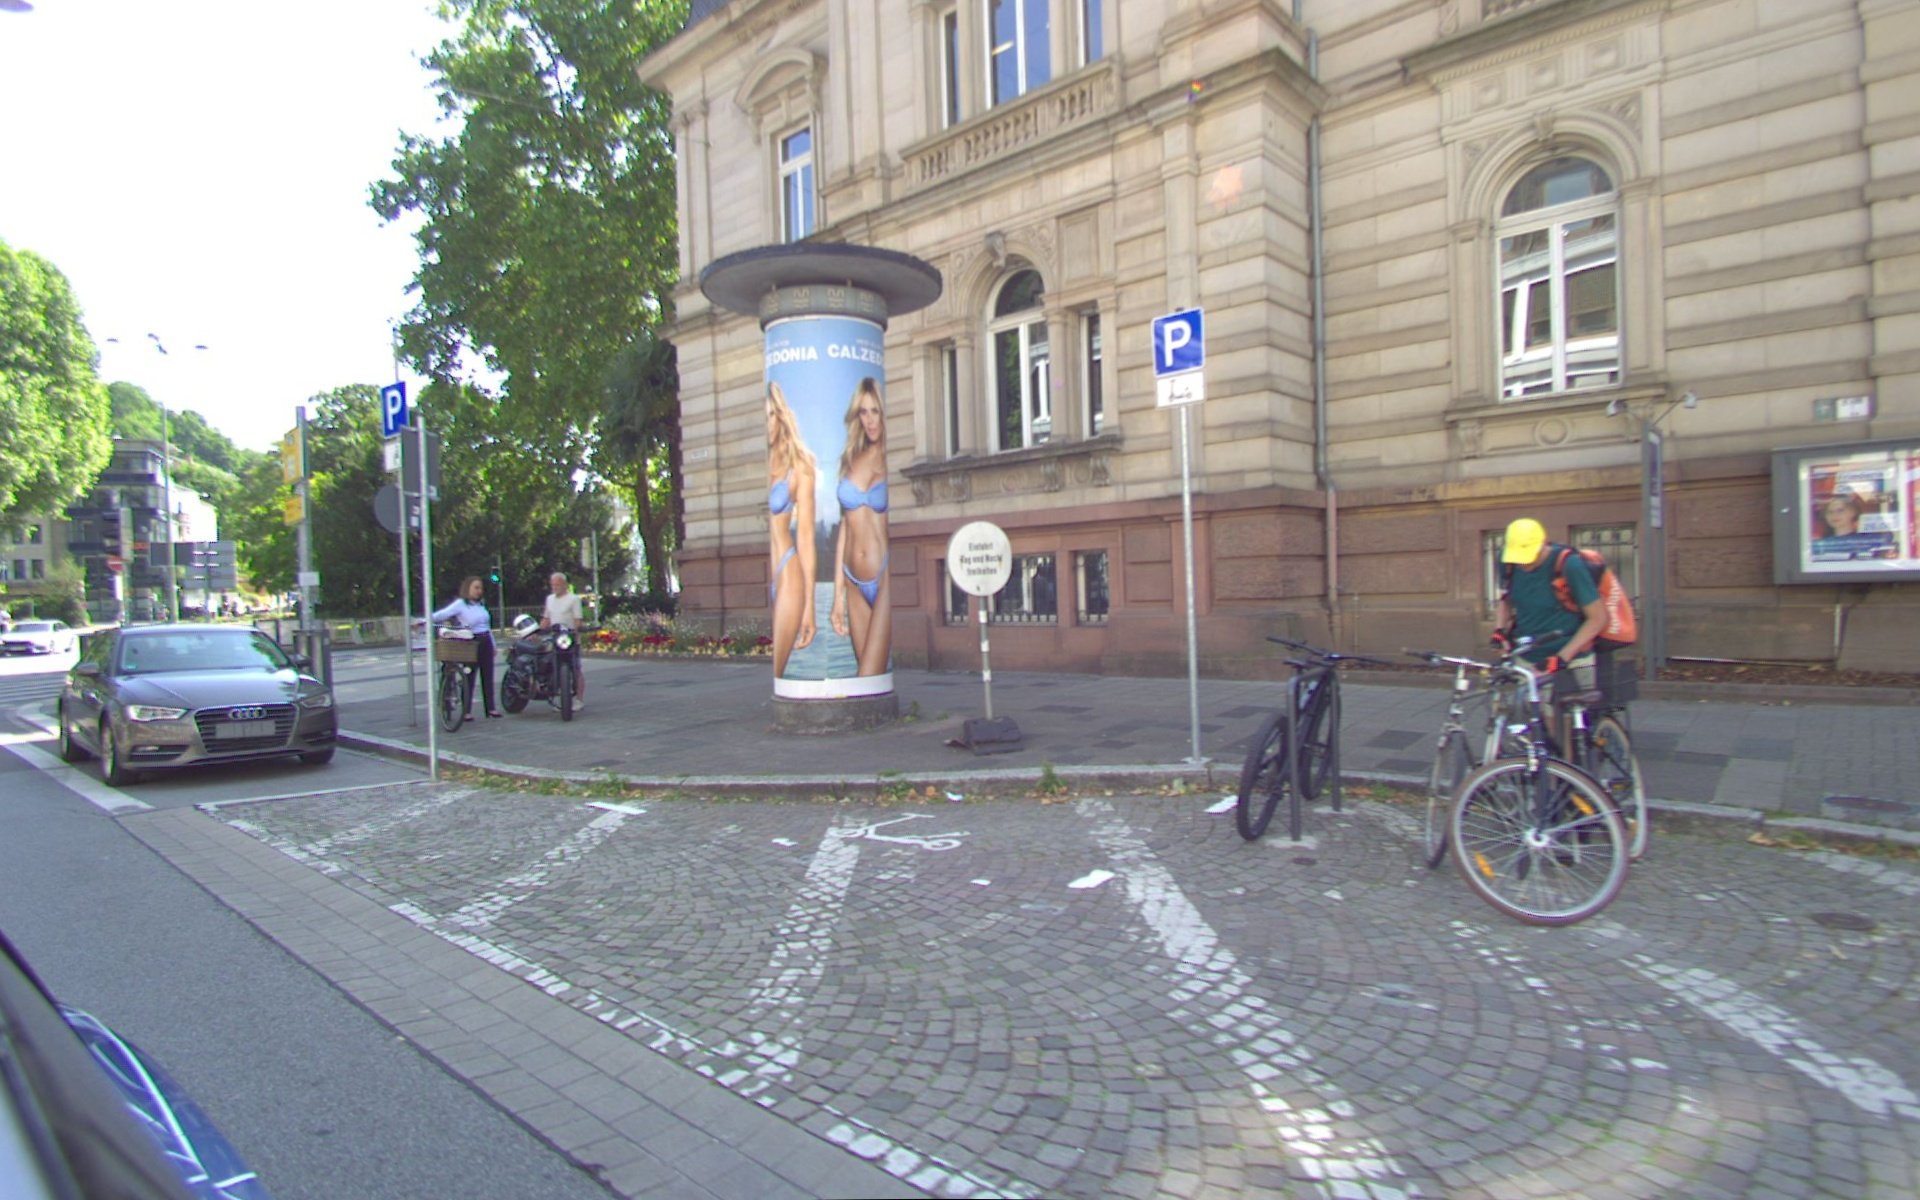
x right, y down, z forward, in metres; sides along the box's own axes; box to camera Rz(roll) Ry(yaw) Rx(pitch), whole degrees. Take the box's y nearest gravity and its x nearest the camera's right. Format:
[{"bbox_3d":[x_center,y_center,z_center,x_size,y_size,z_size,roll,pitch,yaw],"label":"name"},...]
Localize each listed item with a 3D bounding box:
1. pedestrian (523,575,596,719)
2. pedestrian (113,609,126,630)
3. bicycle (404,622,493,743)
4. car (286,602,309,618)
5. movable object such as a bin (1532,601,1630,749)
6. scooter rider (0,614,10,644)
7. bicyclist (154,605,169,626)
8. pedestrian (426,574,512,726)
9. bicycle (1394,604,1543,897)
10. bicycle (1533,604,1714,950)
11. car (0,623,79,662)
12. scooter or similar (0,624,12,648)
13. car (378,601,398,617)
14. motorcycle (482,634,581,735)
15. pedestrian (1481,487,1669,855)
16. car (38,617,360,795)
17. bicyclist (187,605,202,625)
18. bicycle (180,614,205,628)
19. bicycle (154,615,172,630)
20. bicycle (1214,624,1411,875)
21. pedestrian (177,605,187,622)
[{"bbox_3d":[-4.872,0.542,12.291,0.542,1.677,0.938,-1,1,-39],"label":"pedestrian"},{"bbox_3d":[-69.540,1.581,83.756,0.699,1.685,0.536,-2,1,-31],"label":"pedestrian"},{"bbox_3d":[-5.686,0.852,11.195,0.424,1.128,2.248,-4,3,-37],"label":"bicycle"},{"bbox_3d":[-77.534,1.196,118.450,1.820,1.801,4.013,-2,0,-28],"label":"car"},{"bbox_3d":[4.033,0.457,6.558,0.510,0.882,0.649,0,1,34],"label":"movable object such as a bin"},{"bbox_3d":[-54.988,1.636,57.830,0.809,1.684,0.712,-1,1,-26],"label":"scooter rider"},{"bbox_3d":[-63.423,1.244,80.378,0.753,1.648,0.946,-2,1,-30],"label":"bicyclist"},{"bbox_3d":[-5.740,0.557,11.843,0.691,1.708,0.686,0,1,44],"label":"pedestrian"},{"bbox_3d":[2.703,0.651,5.274,0.554,1.128,1.946,-1,3,30],"label":"bicycle"},{"bbox_3d":[3.057,0.657,4.788,0.554,1.128,2.220,-1,3,30],"label":"bicycle"},{"bbox_3d":[-39.396,1.770,42.977,1.909,1.440,4.564,-2,0,-27],"label":"car"},{"bbox_3d":[-54.900,2.040,57.702,0.807,1.308,1.702,-1,1,-27],"label":"scooter or similar"},{"bbox_3d":[-64.578,0.982,114.303,1.820,1.674,4.012,-2,1,-31],"label":"car"},{"bbox_3d":[-5.029,0.935,11.807,0.448,1.005,2.165,-4,2,-38],"label":"motorcycle"},{"bbox_3d":[3.266,0.330,5.353,0.747,1.738,0.881,-2,0,35],"label":"pedestrian"},{"bbox_3d":[-7.861,0.929,10.292,4.250,1.365,1.915,-2,-1,43],"label":"car"},{"bbox_3d":[-63.508,1.211,83.956,0.700,1.625,0.733,-3,1,-11],"label":"bicyclist"},{"bbox_3d":[-63.587,1.694,83.876,0.700,1.062,2.212,-3,1,-11],"label":"bicycle"},{"bbox_3d":[-63.552,1.759,80.703,0.747,1.129,2.008,-1,1,-28],"label":"bicycle"},{"bbox_3d":[2.069,0.727,5.748,0.668,1.025,1.949,-1,3,30],"label":"bicycle"},{"bbox_3d":[-78.081,1.343,101.577,0.592,1.717,0.606,-2,1,-23],"label":"pedestrian"}]
